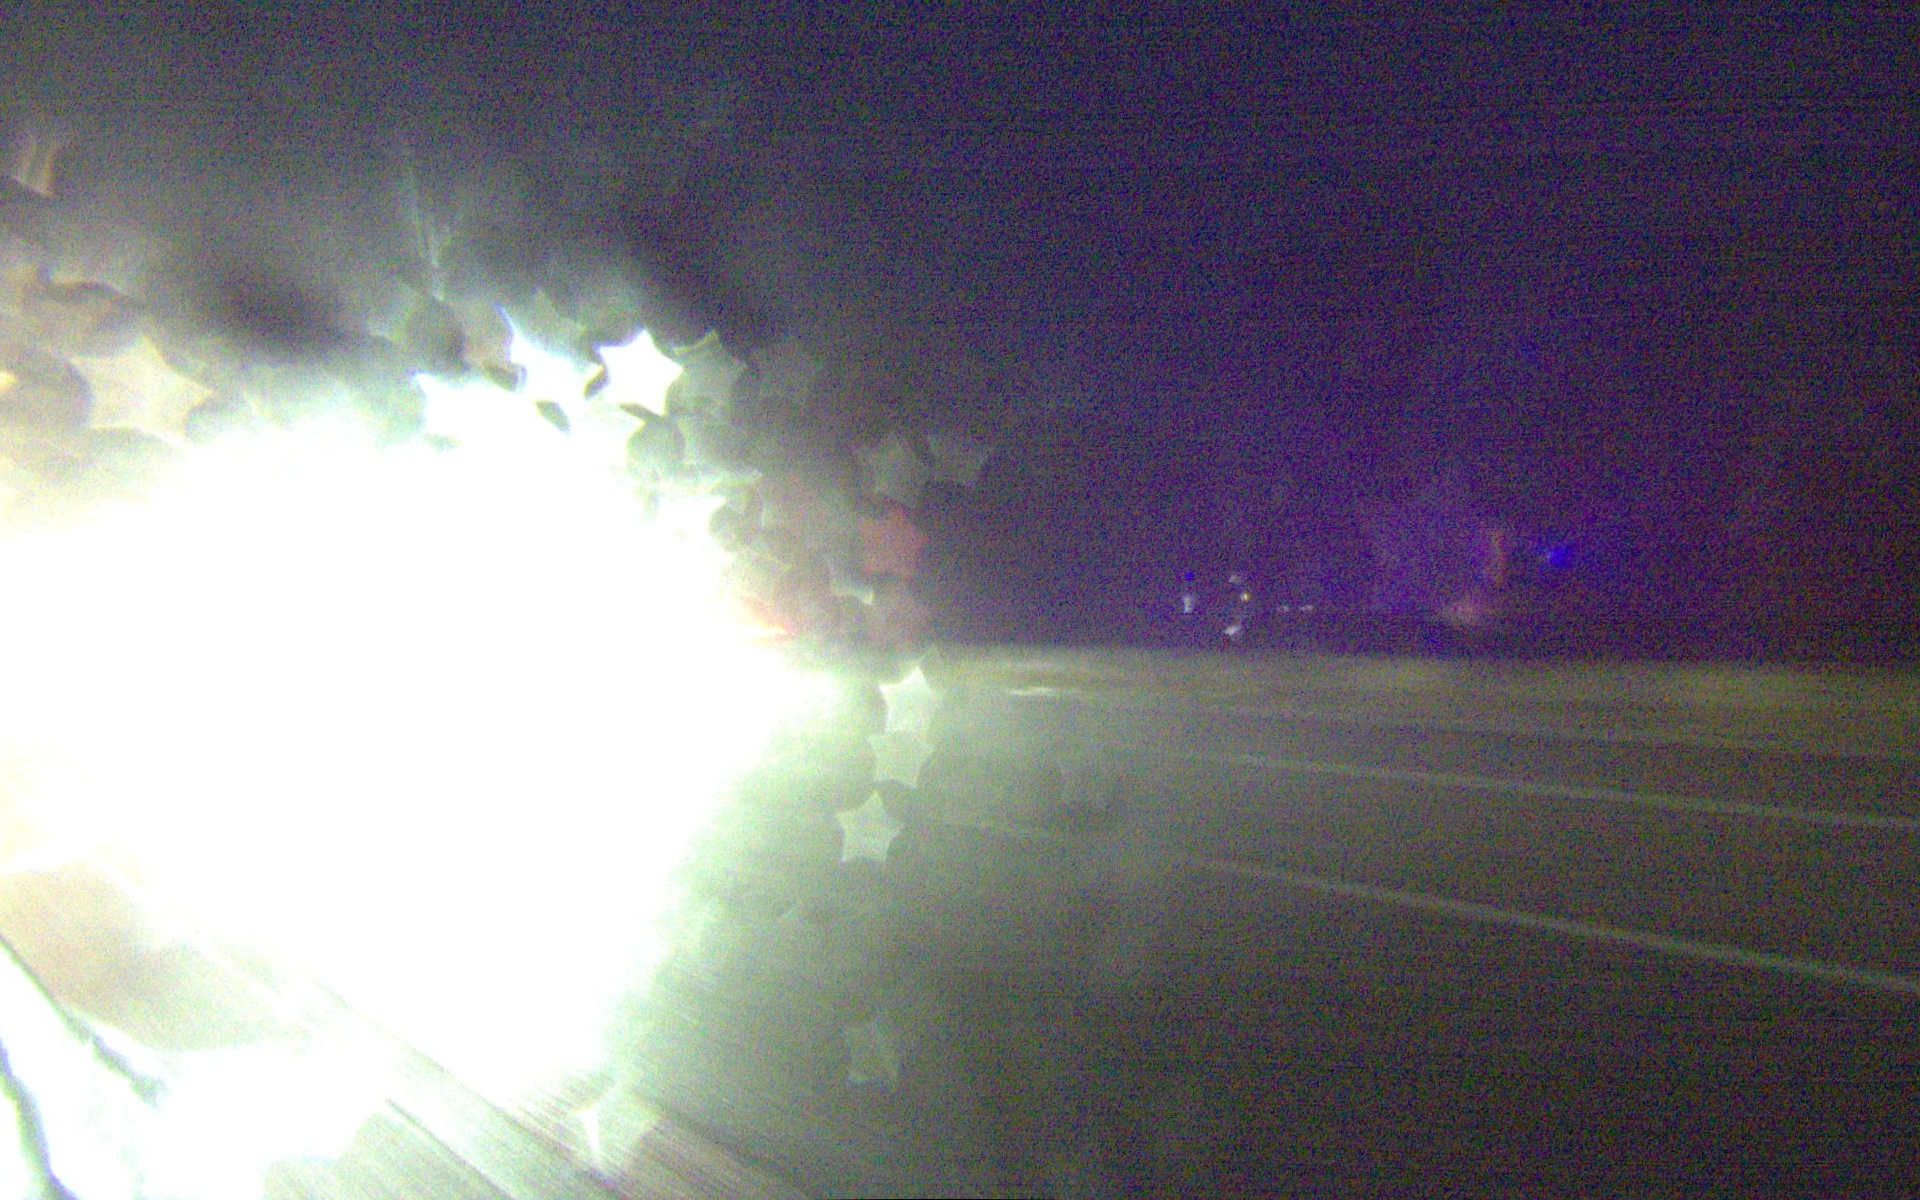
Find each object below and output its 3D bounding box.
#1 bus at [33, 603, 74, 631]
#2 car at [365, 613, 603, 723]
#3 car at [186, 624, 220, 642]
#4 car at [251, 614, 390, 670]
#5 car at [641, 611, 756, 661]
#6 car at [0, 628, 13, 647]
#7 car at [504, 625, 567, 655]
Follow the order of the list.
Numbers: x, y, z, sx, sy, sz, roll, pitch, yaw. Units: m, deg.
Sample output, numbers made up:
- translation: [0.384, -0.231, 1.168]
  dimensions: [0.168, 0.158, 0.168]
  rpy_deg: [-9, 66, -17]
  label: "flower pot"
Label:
- translation: [-153.397, 2.852, 171.150]
  dimensions: [16.538, 4.482, 3.335]
  rpy_deg: [-1, 0, 42]
  label: "bus"
- translation: [-7.544, 0.960, 15.907]
  dimensions: [3.998, 1.452, 1.973]
  rpy_deg: [-1, 0, 42]
  label: "car"
- translation: [-81.727, 3.543, 109.241]
  dimensions: [4.557, 1.734, 1.862]
  rpy_deg: [-1, 0, 39]
  label: "car"
- translation: [-19.184, 1.198, 30.274]
  dimensions: [5.159, 1.487, 1.974]
  rpy_deg: [-1, 0, 39]
  label: "car"
- translation: [-9.939, 1.318, 38.270]
  dimensions: [4.558, 1.734, 1.862]
  rpy_deg: [-1, 0, 39]
  label: "car"
- translation: [-85.457, 3.313, 89.550]
  dimensions: [4.586, 1.572, 1.972]
  rpy_deg: [-1, 0, 42]
  label: "car"
- translation: [-27.163, 2.543, 64.738]
  dimensions: [4.559, 1.734, 1.861]
  rpy_deg: [-1, 0, 40]
  label: "car"
